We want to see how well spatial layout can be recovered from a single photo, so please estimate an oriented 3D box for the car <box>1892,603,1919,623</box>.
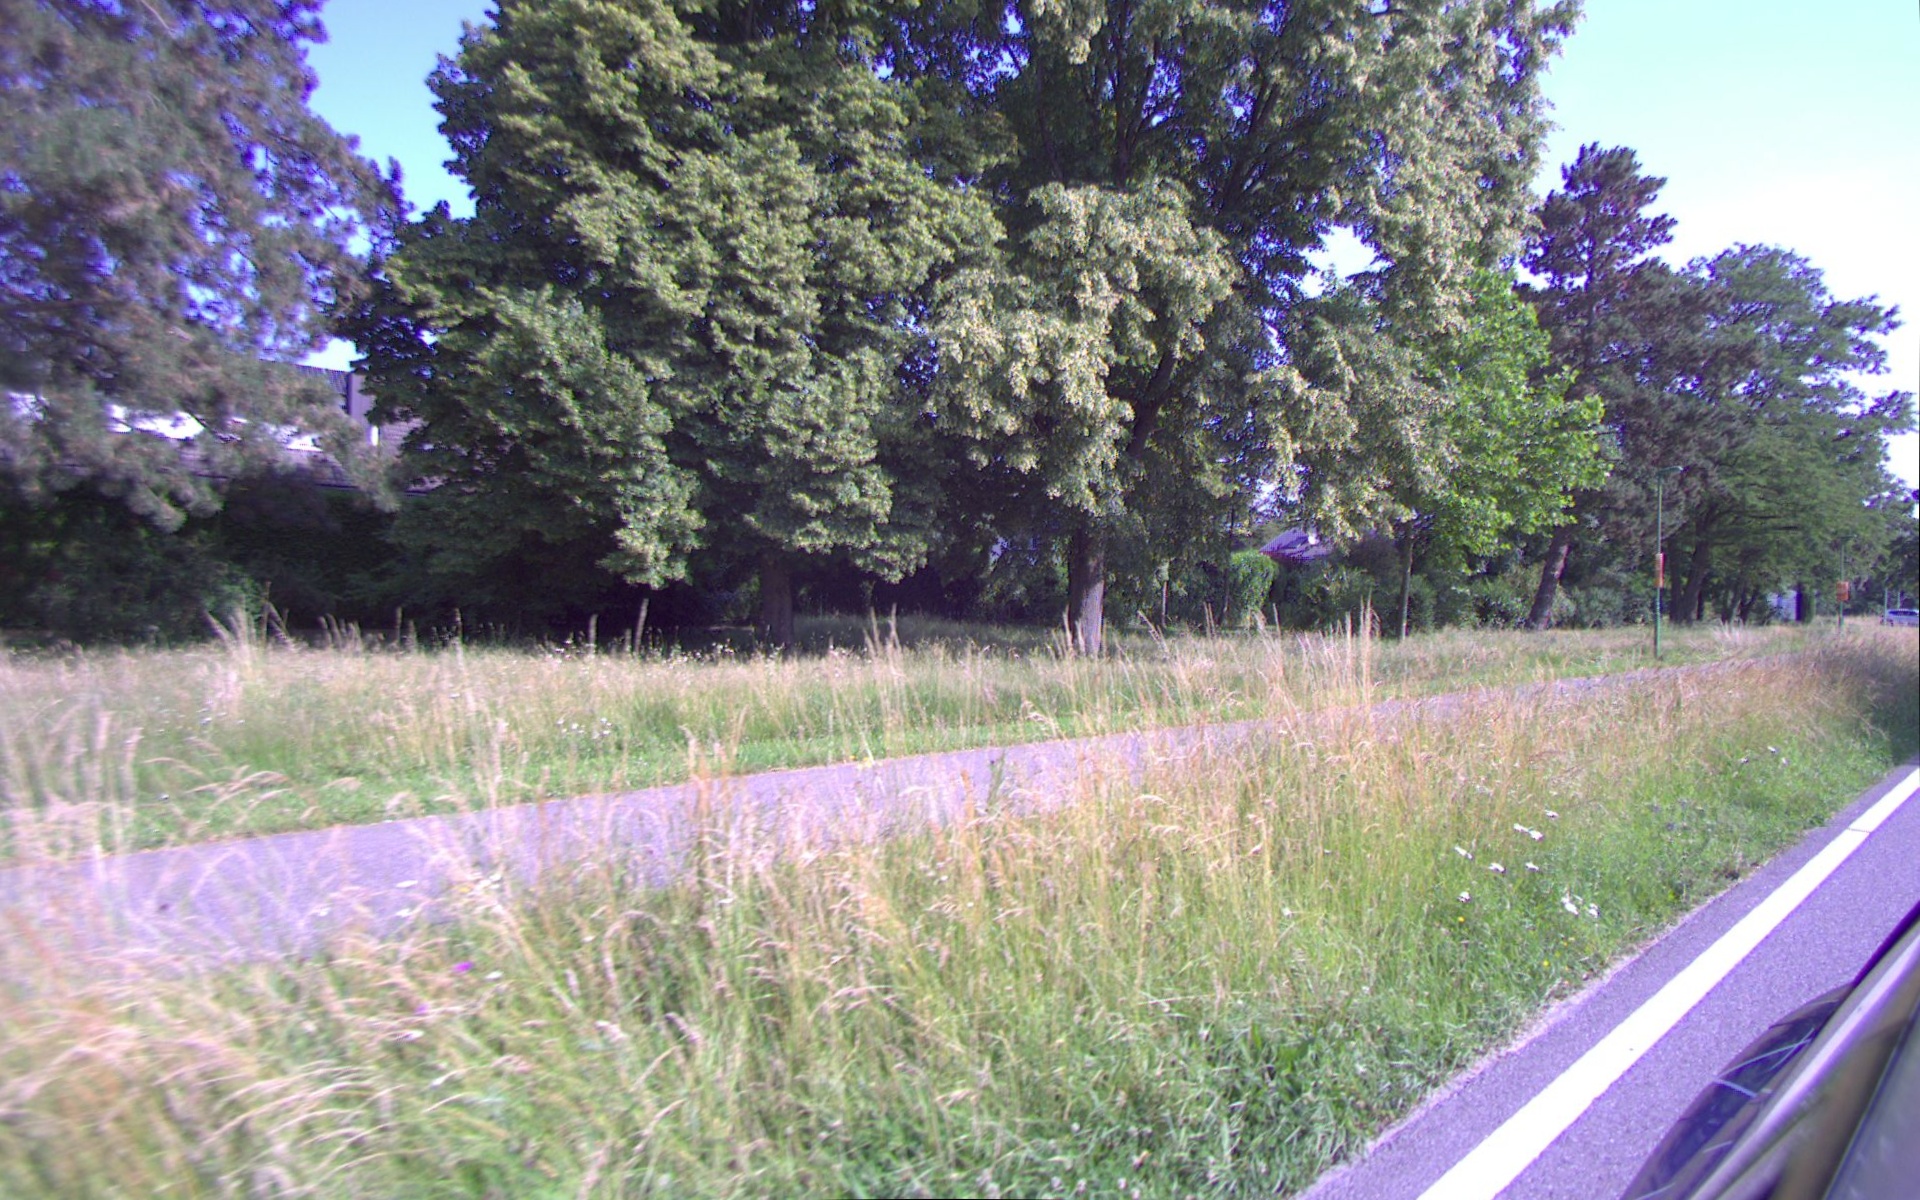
[{"bbox_3d":[74.643,1.047,77.863,1.963,1.504,3.999,1,1,-37],"label":"car"}]
